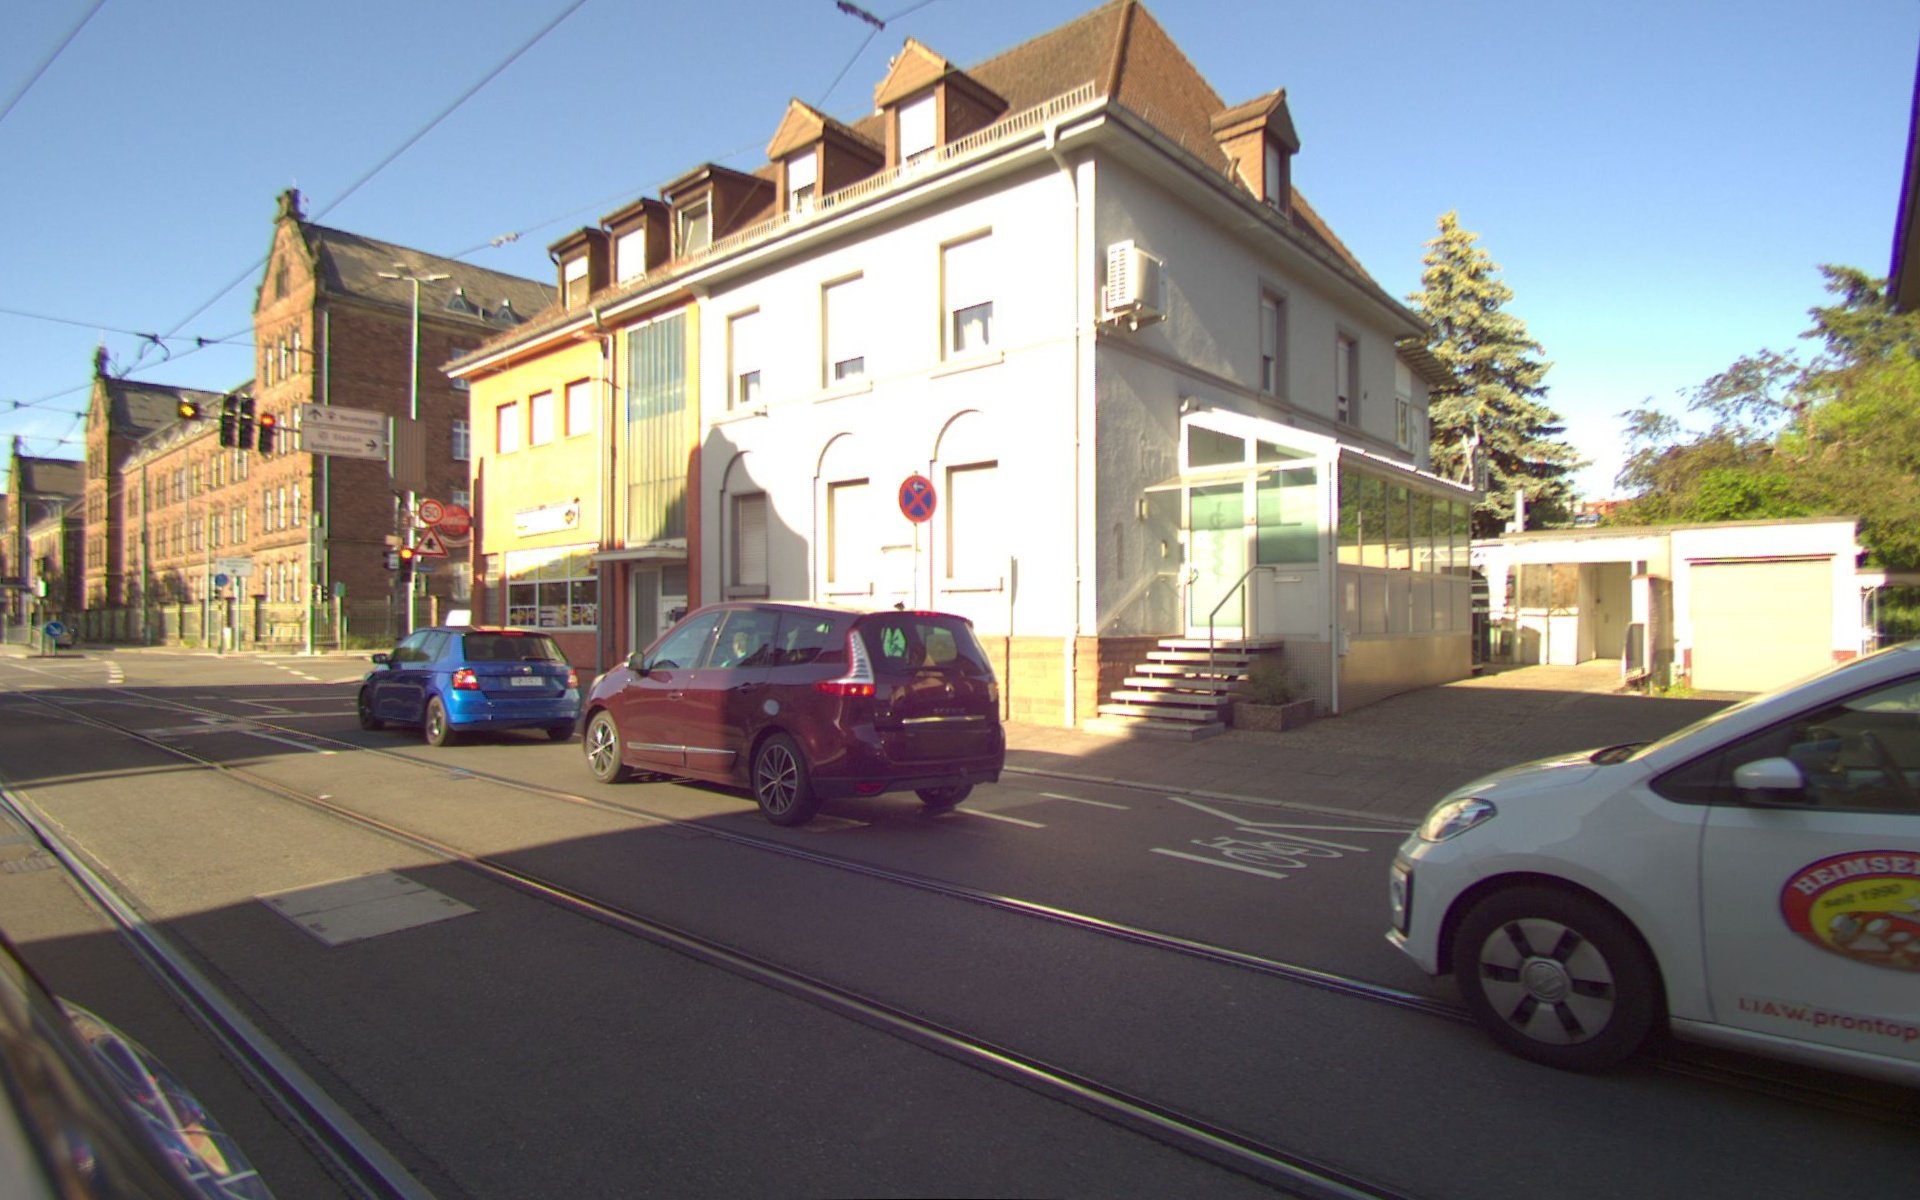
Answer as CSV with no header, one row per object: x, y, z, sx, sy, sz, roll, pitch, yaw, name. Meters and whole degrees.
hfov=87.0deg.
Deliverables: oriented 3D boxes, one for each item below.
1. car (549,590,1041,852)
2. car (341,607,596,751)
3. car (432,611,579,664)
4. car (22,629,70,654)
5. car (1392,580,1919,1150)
-1.654,0.817,8.593,1.718,1.623,4.717,3,-3,-44,car
-6.445,0.944,13.089,3.929,1.579,1.665,-2,-4,44,car
-16.866,1.361,37.752,1.857,1.812,4.635,1,0,40,car
-54.889,2.469,60.751,4.114,1.454,1.718,-2,-2,42,car
3.363,0.704,2.896,3.613,1.472,1.565,-1,-3,43,car
